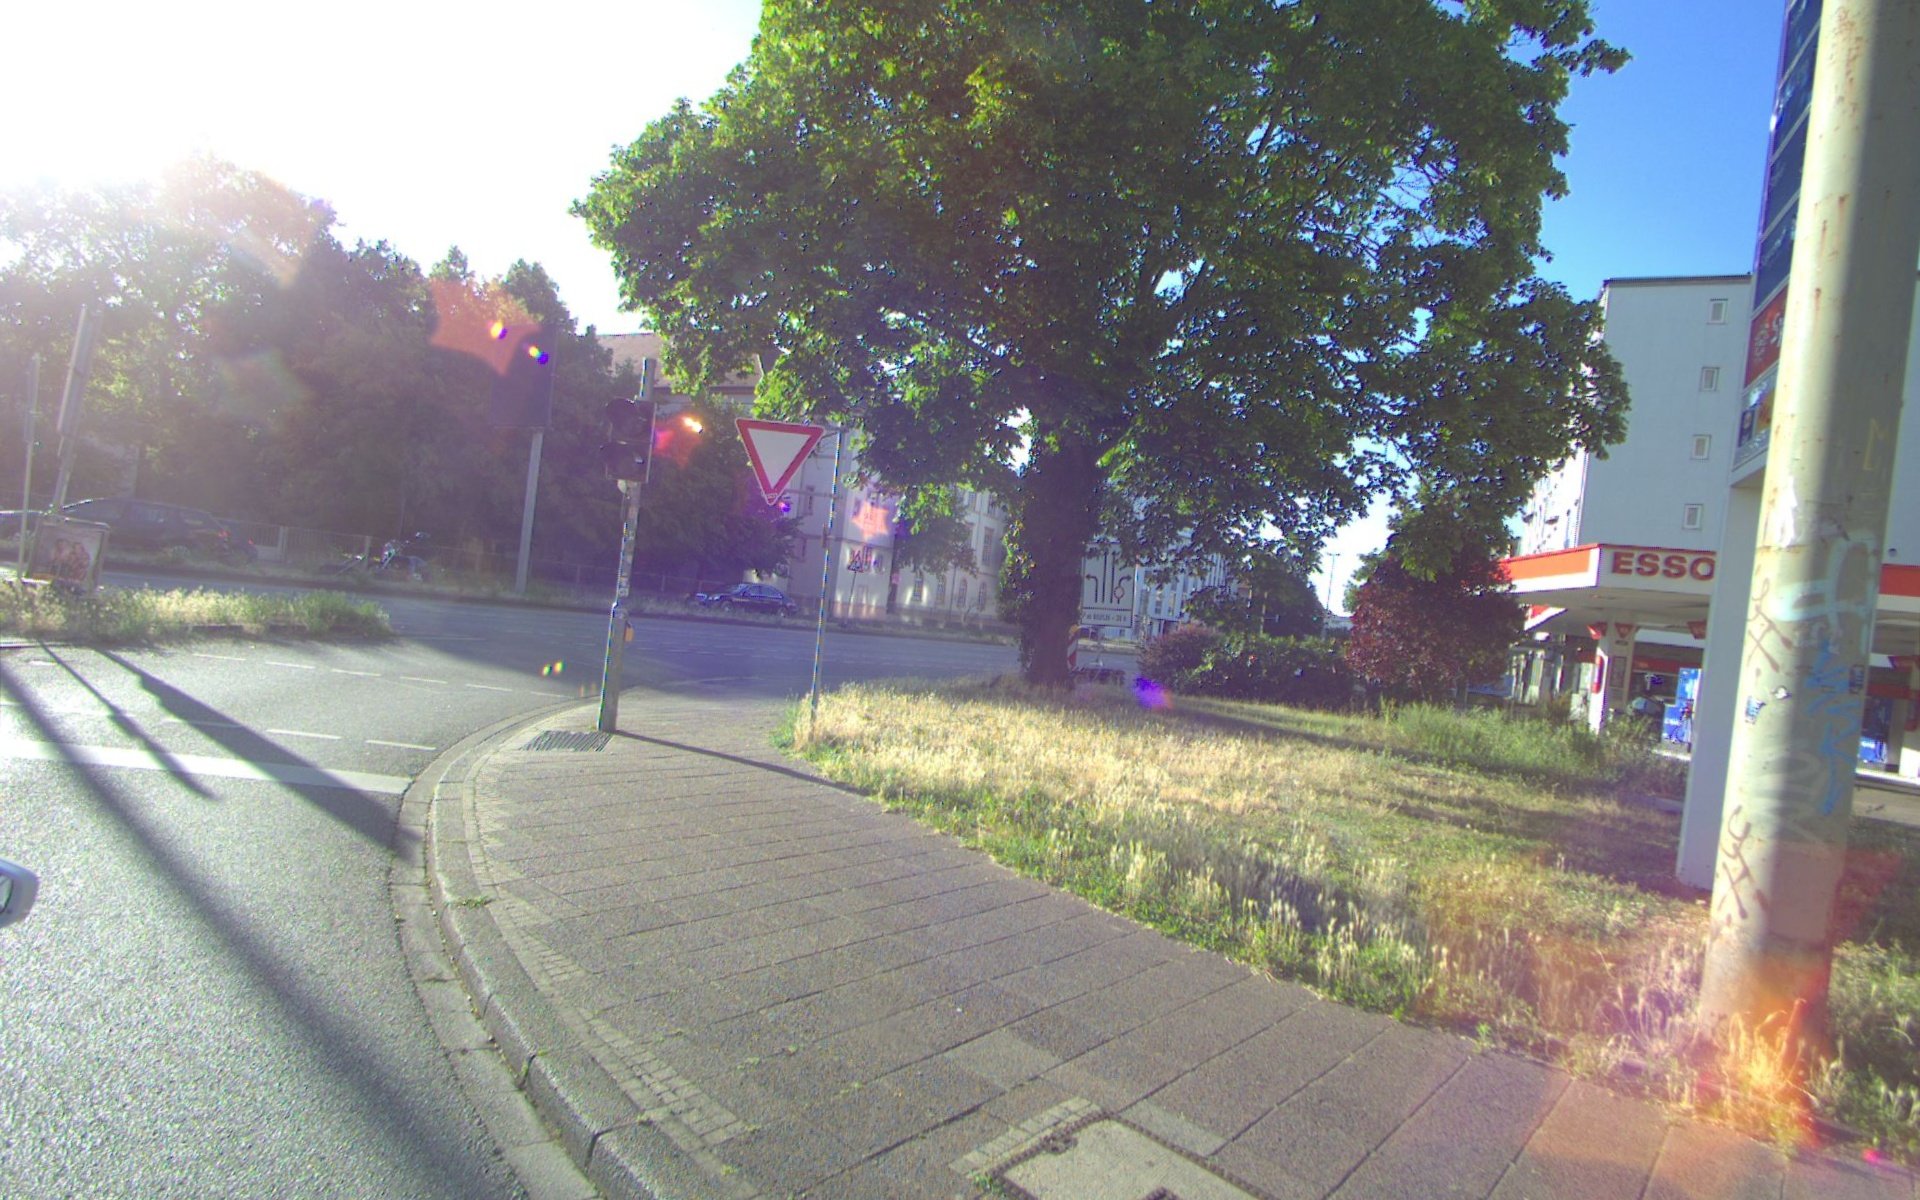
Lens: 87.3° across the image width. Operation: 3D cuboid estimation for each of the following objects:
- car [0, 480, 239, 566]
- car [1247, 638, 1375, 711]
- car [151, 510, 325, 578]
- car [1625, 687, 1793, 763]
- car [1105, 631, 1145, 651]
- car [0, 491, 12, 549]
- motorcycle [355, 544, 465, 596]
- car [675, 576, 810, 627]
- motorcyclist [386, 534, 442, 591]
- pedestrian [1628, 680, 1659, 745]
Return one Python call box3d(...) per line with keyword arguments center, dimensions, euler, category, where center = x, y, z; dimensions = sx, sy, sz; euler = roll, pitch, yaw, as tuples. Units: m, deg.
box3d(center=(-19.350, -1.732, 23.011), dimensions=(1.702, 1.312, 4.352), euler=(7, -1, 45), category="car")
box3d(center=(9.403, 2.012, 26.770), dimensions=(1.680, 1.593, 3.981), euler=(6, -1, 42), category="car")
box3d(center=(-22.466, -1.710, 31.427), dimensions=(1.832, 1.482, 3.986), euler=(7, 0, 38), category="car")
box3d(center=(20.424, 3.354, 27.664), dimensions=(1.962, 1.371, 4.000), euler=(7, 1, 10), category="car")
box3d(center=(19.643, 4.899, 119.734), dimensions=(4.312, 1.854, 2.000), euler=(7, 0, 19), category="car")
box3d(center=(-24.499, -2.135, 23.051), dimensions=(1.701, 1.335, 3.875), euler=(7, -1, 43), category="car")
box3d(center=(-15.114, -0.810, 27.711), dimensions=(0.850, 1.121, 2.456), euler=(7, -1, 44), category="motorcycle")
box3d(center=(-8.869, 0.103, 41.465), dimensions=(1.971, 1.514, 5.272), euler=(7, -1, 39), category="car")
box3d(center=(-15.072, -1.029, 27.766), dimensions=(0.843, 1.415, 1.055), euler=(7, 0, 45), category="motorcyclist")
box3d(center=(18.924, 3.099, 27.868), dimensions=(0.413, 1.726, 0.420), euler=(7, 0, 10), category="pedestrian")
